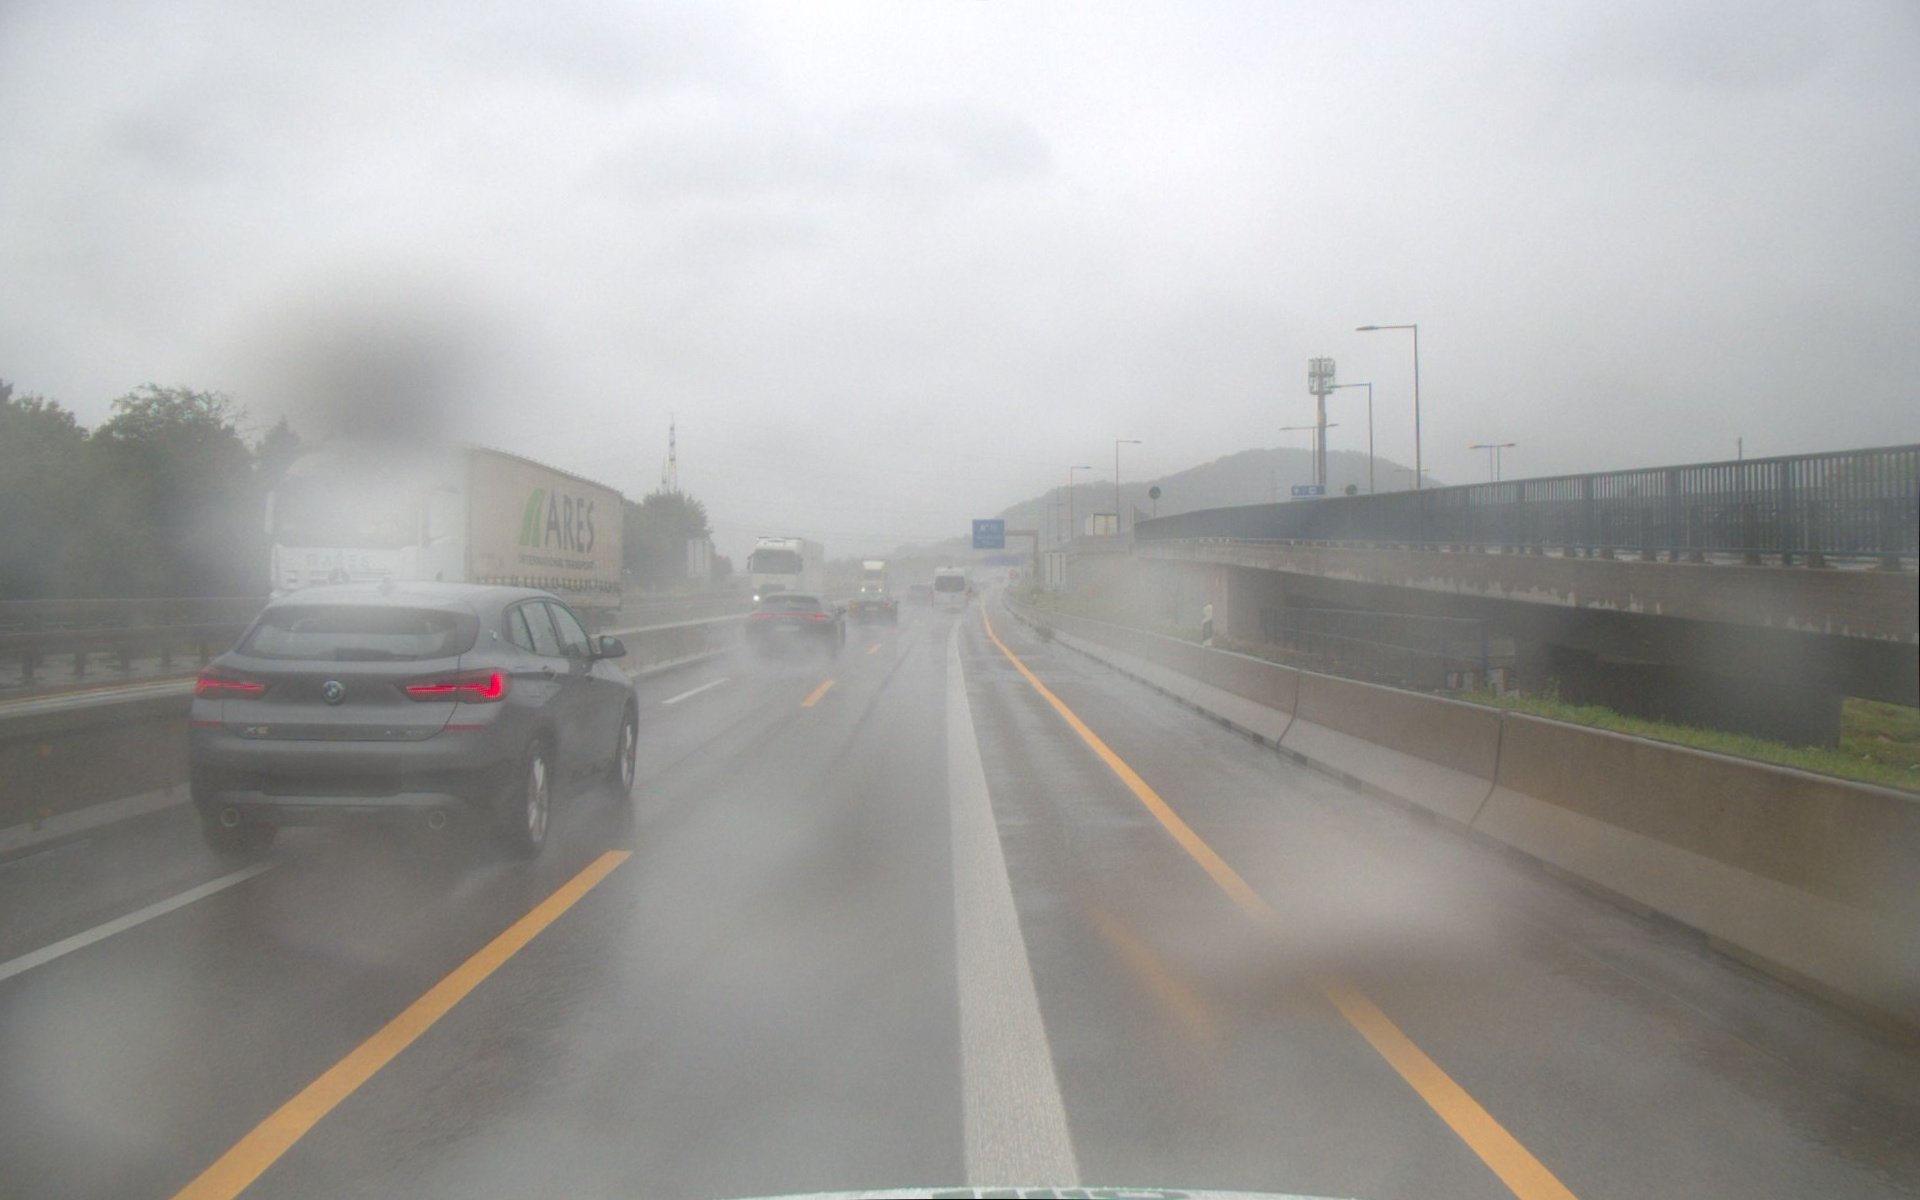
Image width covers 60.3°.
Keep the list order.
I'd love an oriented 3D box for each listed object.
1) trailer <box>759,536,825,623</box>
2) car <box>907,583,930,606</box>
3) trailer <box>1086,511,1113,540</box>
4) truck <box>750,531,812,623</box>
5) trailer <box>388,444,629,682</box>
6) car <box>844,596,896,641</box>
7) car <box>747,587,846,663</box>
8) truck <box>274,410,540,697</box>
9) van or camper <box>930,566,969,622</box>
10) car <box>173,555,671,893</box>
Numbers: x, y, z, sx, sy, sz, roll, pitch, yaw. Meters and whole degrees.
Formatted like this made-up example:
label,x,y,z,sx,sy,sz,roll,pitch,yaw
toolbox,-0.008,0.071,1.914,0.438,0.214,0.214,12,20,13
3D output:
label,x,y,z,sx,sy,sz,roll,pitch,yaw
trailer,-9.530,-1.070,95.267,2.495,4.670,12.008,1,-1,0
car,-2.930,-0.361,117.012,1.535,1.506,2.820,-2,-1,-2
trailer,13.852,-7.339,164.706,1.952,2.143,13.771,1,-1,2
truck,-9.542,-1.143,88.548,2.507,4.684,6.452,1,-1,0
trailer,-9.785,-0.662,37.348,2.434,4.521,11.193,1,-1,-1
car,-3.362,0.667,62.348,1.807,1.517,4.260,-2,1,-2
car,-3.498,0.526,35.979,1.807,1.517,4.260,1,-1,-2
truck,-9.682,-0.709,29.797,2.451,4.541,6.879,1,-1,-1
van or camper,-0.576,-0.287,87.102,1.956,2.826,4.048,1,-1,-2
car,-3.026,0.636,10.453,1.666,1.626,4.843,0,-1,-2
